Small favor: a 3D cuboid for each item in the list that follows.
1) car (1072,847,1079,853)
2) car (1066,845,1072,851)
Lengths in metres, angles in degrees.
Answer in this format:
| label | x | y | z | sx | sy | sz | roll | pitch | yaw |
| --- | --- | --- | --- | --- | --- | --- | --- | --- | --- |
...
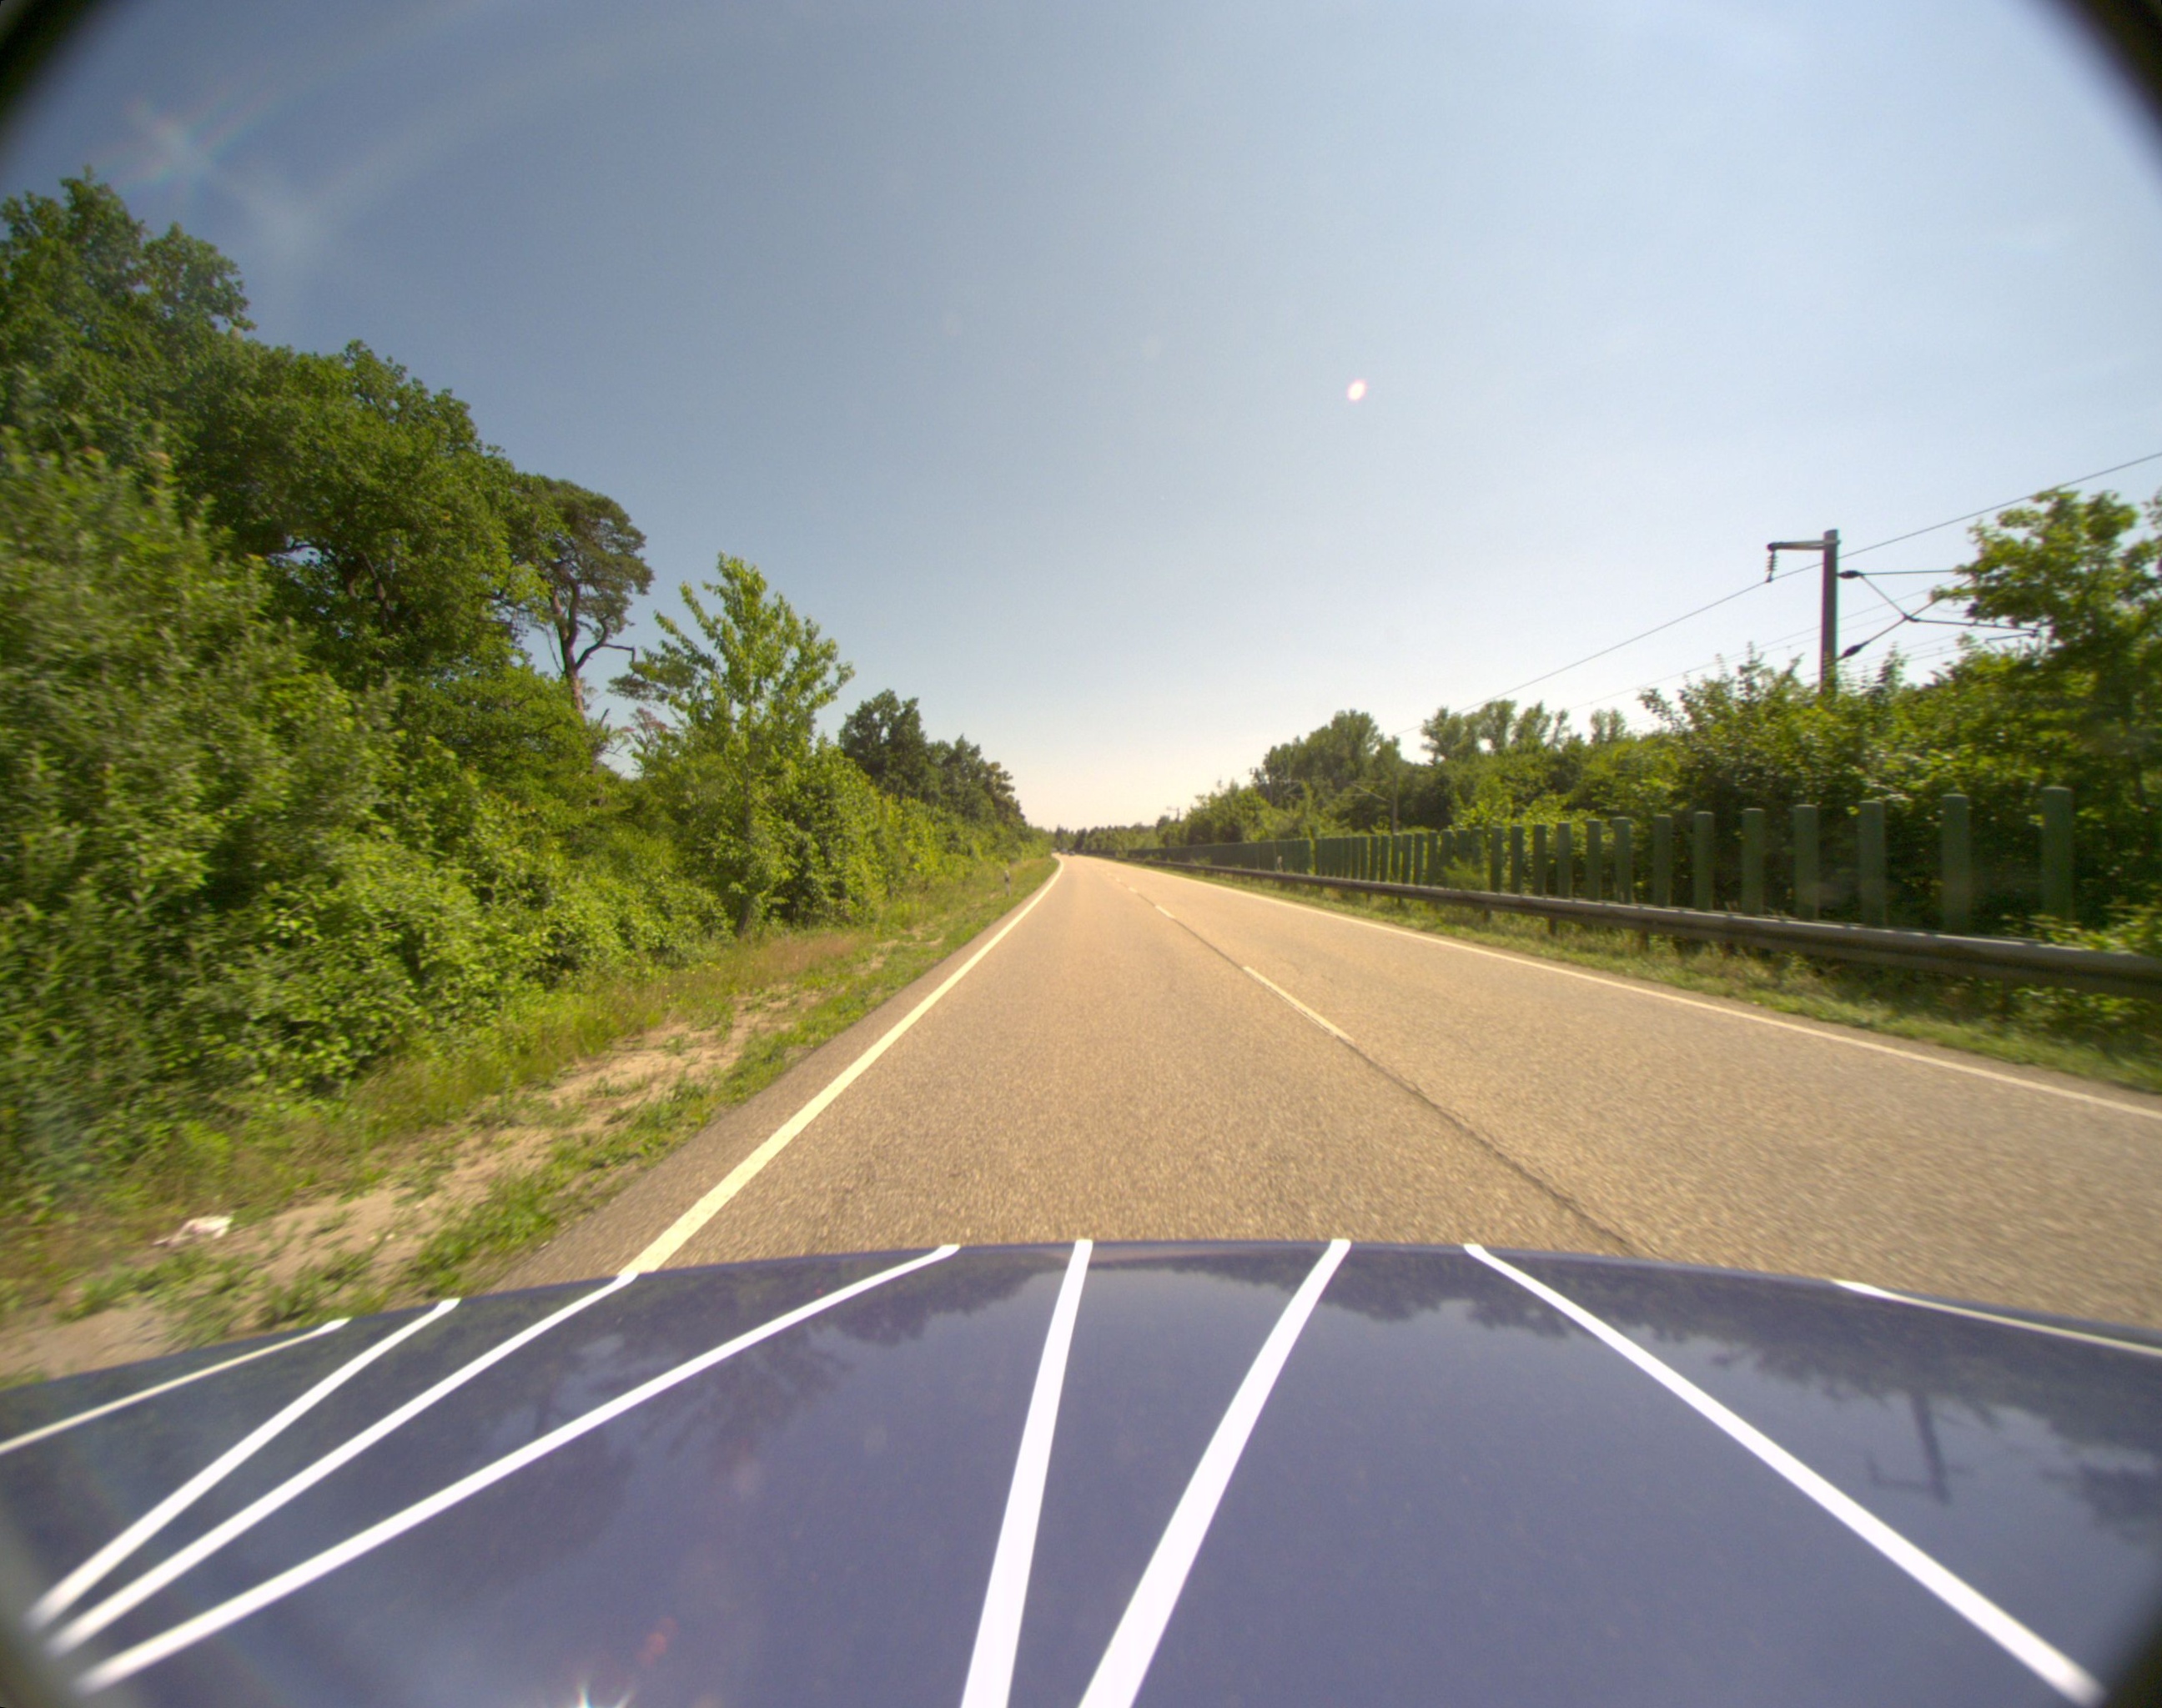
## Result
| label | x | y | z | sx | sy | sz | roll | pitch | yaw |
| --- | --- | --- | --- | --- | --- | --- | --- | --- | --- |
| car | -1.531 | -1.168 | 223.934 | 1.761 | 1.874 | 4.532 | -1 | 1 | -3 |
| car | -4.132 | -1.985 | 257.828 | 1.762 | 1.874 | 4.532 | -2 | 1 | -3 |
